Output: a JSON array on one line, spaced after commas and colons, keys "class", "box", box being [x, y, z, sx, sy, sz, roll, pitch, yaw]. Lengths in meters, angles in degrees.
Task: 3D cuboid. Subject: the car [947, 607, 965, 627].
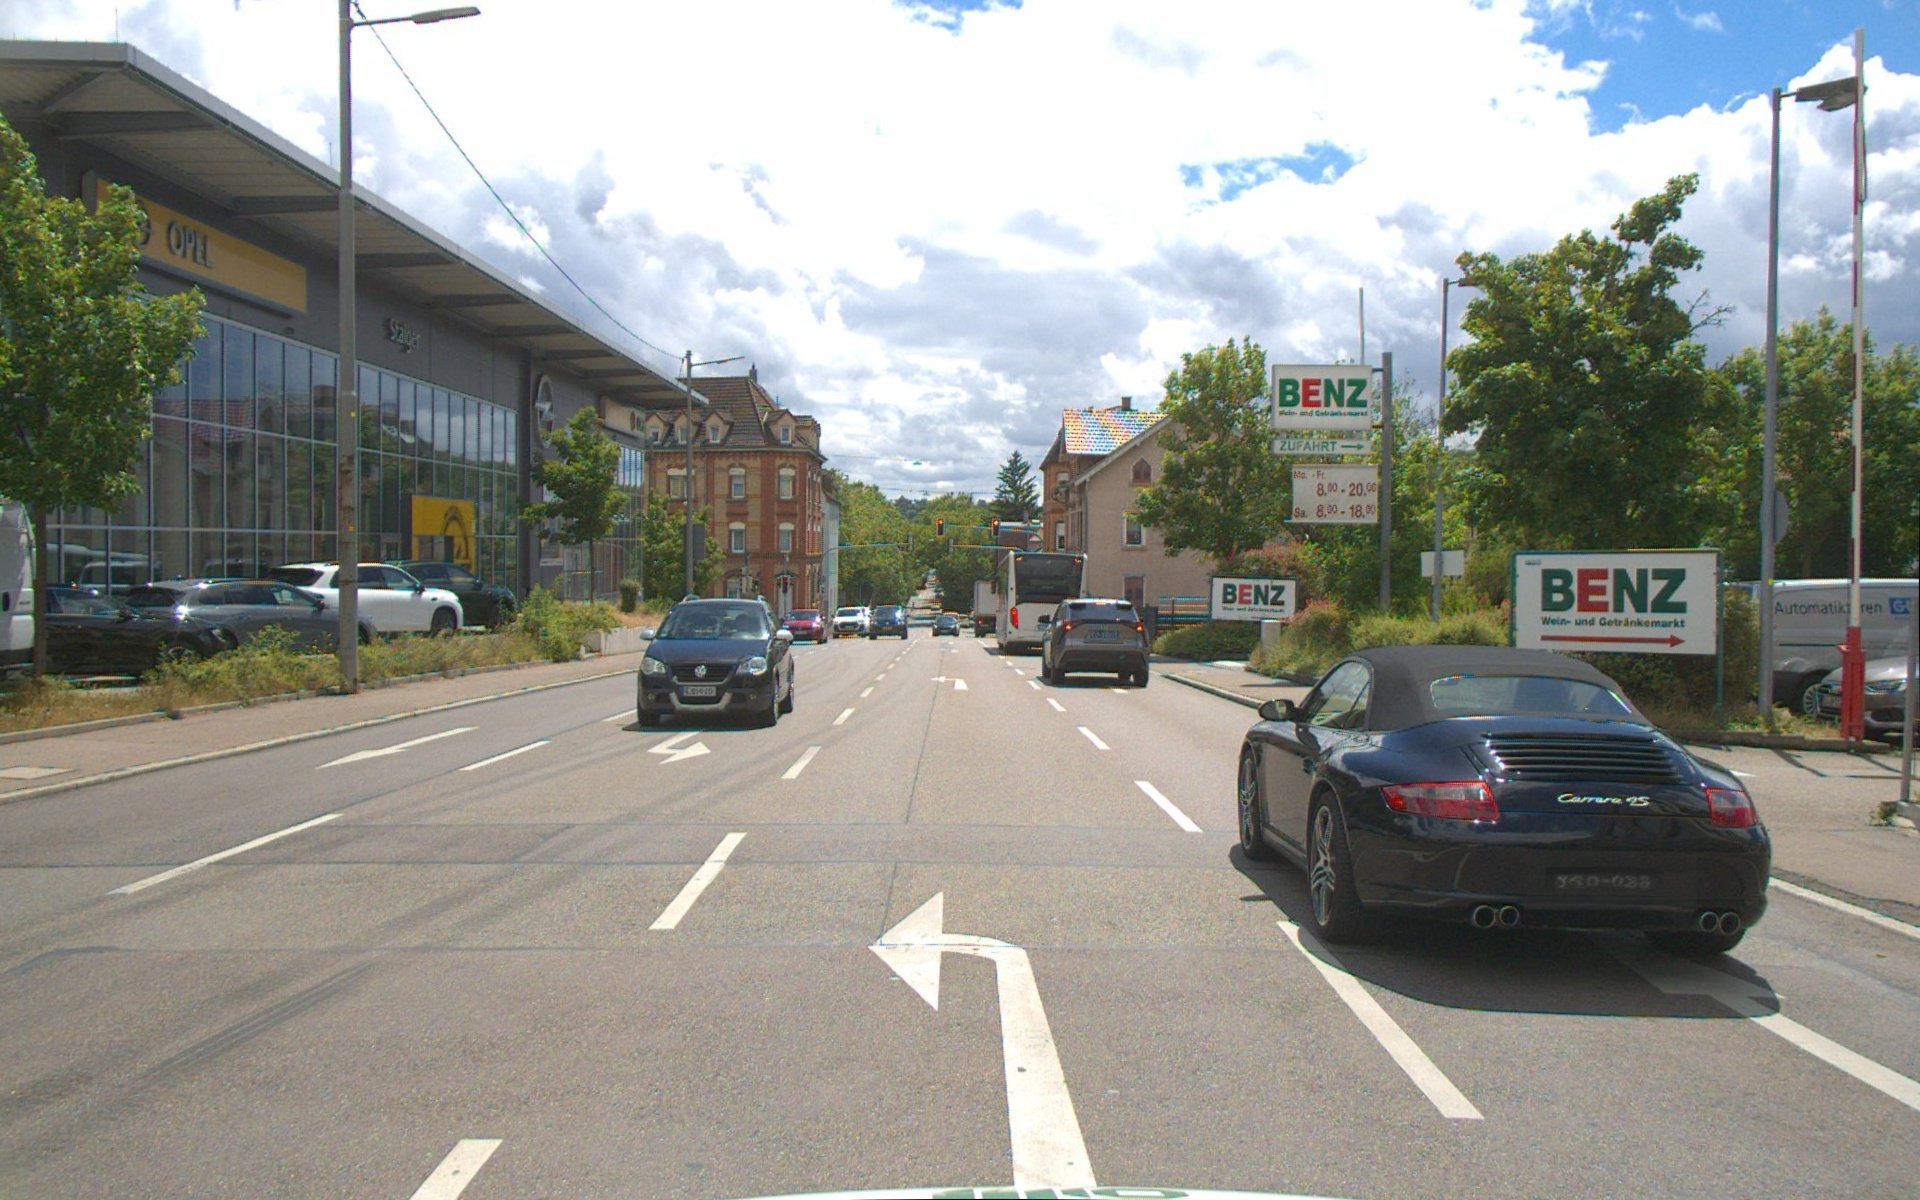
[{"class": "car", "box": [-0.423, 1.709, 167.224, 1.795, 1.914, 3.999, 0, 1, -2]}]

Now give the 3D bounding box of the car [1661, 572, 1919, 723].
[{"class": "car", "box": [12.260, 0.581, 22.462, 4.619, 1.881, 2.085, -1, 0, -8]}]

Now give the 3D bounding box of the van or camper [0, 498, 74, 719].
[{"class": "van or camper", "box": [-13.640, 0.067, 19.656, 4.924, 2.574, 2.318, 0, 2, -1]}]

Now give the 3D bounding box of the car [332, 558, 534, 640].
[{"class": "car", "box": [-12.131, -0.073, 38.377, 1.954, 1.728, 4.482, 1, 2, 25]}]

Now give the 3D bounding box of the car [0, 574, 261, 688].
[{"class": "car", "box": [-12.632, 0.411, 23.724, 4.439, 1.535, 1.913, 0, 0, -43]}]

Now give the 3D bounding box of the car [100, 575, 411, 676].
[{"class": "car", "box": [-11.856, 0.358, 28.229, 1.858, 1.476, 4.827, 1, 2, 27]}]

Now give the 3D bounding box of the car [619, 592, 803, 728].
[{"class": "car", "box": [-3.022, 0.674, 20.887, 1.792, 1.535, 4.275, 0, 0, -2]}]

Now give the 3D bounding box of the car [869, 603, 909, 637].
[{"class": "car", "box": [-3.441, 0.968, 80.993, 1.826, 1.567, 4.106, 1, 0, -1]}]

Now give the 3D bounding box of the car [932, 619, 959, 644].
[{"class": "car", "box": [-1.031, 2.184, 114.959, 1.826, 1.695, 4.258, 0, 0, -1]}]

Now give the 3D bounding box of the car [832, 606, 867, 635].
[{"class": "car", "box": [-6.149, 1.143, 92.760, 1.826, 1.567, 4.105, 1, 0, -2]}]

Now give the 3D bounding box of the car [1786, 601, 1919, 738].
[{"class": "car", "box": [12.486, 0.756, 19.635, 4.342, 1.507, 2.000, -1, 0, -1]}]

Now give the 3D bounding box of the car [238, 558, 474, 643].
[{"class": "car", "box": [-12.058, 0.016, 33.371, 1.891, 1.600, 4.552, 0, 0, 23]}]

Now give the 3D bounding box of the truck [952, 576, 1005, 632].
[{"class": "truck", "box": [1.033, 0.244, 99.873, 2.613, 3.162, 9.030, -1, 0, -3]}]

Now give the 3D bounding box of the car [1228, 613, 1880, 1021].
[{"class": "car", "box": [2.588, 0.839, 8.381, 1.890, 1.400, 4.209, 0, 1, 2]}]

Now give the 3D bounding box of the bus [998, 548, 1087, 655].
[{"class": "bus", "box": [2.718, -0.152, 57.456, 2.744, 3.253, 12.200, 1, 2, 1]}]

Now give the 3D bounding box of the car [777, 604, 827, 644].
[{"class": "car", "box": [-6.458, 0.955, 67.920, 1.834, 1.517, 3.847, -3, 0, -3]}]

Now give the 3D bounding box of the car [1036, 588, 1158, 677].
[{"class": "car", "box": [2.608, 0.635, 32.332, 1.892, 1.611, 4.206, 0, -1, -2]}]

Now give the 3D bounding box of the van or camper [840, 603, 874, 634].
[{"class": "van or camper", "box": [-6.607, 1.177, 106.621, 1.930, 1.948, 5.127, 1, 0, -1]}]
